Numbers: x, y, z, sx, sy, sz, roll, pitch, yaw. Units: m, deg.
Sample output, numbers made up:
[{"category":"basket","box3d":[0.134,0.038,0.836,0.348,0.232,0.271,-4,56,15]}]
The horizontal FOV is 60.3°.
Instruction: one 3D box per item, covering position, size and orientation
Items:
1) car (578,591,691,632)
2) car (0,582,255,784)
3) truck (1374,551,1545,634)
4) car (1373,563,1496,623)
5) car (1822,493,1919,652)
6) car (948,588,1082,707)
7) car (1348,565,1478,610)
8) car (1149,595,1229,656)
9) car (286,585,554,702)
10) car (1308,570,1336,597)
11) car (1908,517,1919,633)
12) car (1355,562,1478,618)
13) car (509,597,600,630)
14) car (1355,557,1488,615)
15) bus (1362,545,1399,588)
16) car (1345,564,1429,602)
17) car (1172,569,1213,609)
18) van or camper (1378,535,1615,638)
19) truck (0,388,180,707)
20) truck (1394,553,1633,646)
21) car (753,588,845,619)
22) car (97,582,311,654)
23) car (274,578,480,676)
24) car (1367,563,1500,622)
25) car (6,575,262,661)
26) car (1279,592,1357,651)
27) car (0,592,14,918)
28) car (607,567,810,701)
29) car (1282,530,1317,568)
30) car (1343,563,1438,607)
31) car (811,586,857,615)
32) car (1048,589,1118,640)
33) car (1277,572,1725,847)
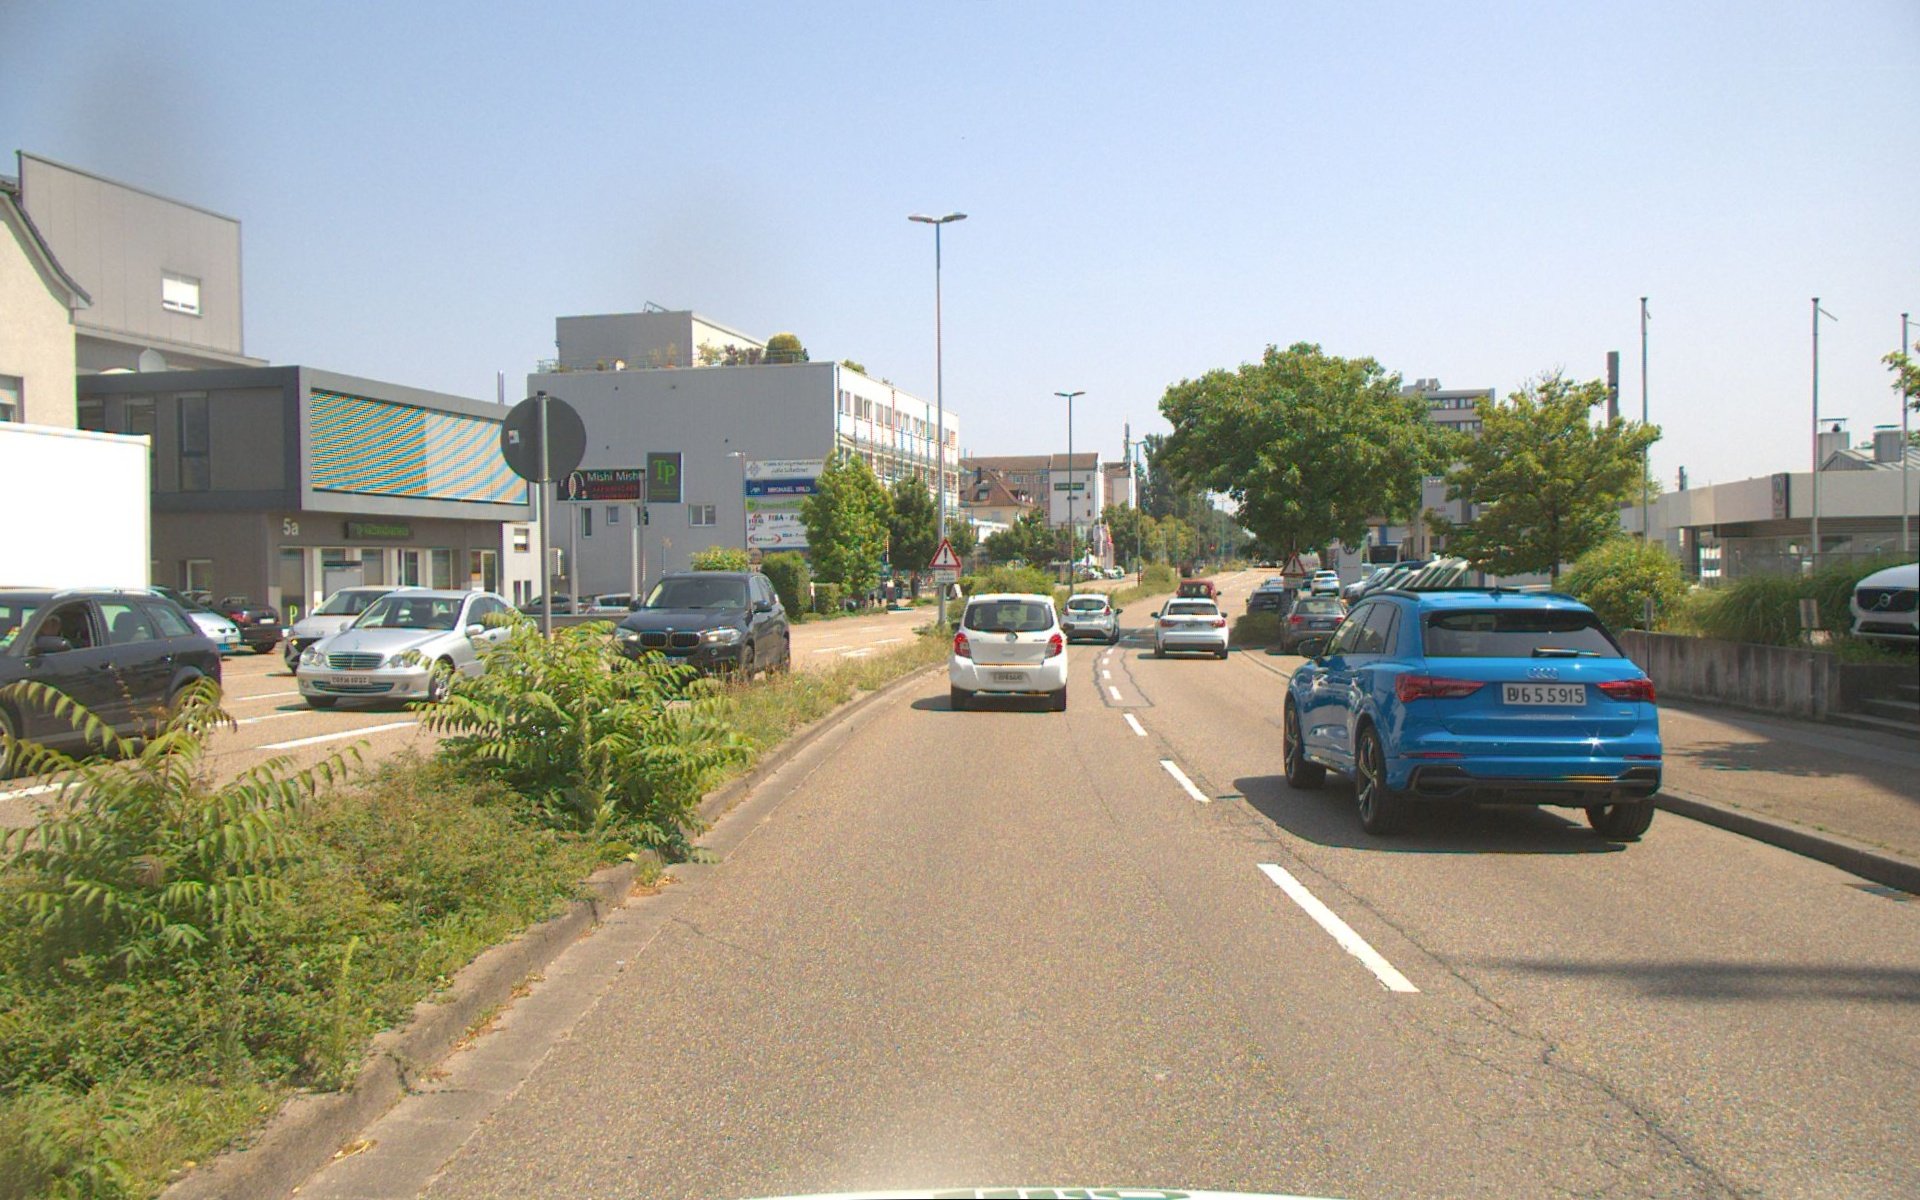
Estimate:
[{"category":"car","box3d":[-12.292,0.449,62.519,3.902,1.484,1.576,-1,-1,6]},{"category":"car","box3d":[-7.752,0.591,13.550,1.764,1.464,4.578,0,0,3]},{"category":"truck","box3d":[16.214,-0.238,53.931,5.135,2.478,2.113,-2,1,13]},{"category":"car","box3d":[18.544,-0.273,64.850,4.413,2.049,2.200,-4,-1,12]},{"category":"car","box3d":[12.679,-0.264,19.184,4.645,1.743,1.992,1,-1,-15]},{"category":"car","box3d":[0.706,0.640,23.235,1.677,1.537,3.246,1,-1,-1]},{"category":"car","box3d":[21.308,-0.602,78.102,5.767,2.049,2.261,1,1,12]},{"category":"car","box3d":[5.566,0.585,40.499,1.632,1.424,3.795,0,0,3]},{"category":"car","box3d":[-6.932,0.525,21.738,1.857,1.385,4.200,0,0,4]},{"category":"car","box3d":[23.465,-1.088,107.366,1.631,1.623,4.617,-2,1,11]},{"category":"car","box3d":[23.962,-0.521,35.634,5.760,2.573,2.121,1,-1,14]},{"category":"car","box3d":[19.372,-0.438,70.312,4.795,2.151,2.131,-2,1,10]},{"category":"car","box3d":[-19.965,0.645,81.517,3.887,1.493,1.965,-1,1,6]},{"category":"car","box3d":[20.926,-0.633,75.233,5.719,2.568,2.206,1,0,14]},{"category":"bus","box3d":[33.652,-2.767,132.394,2.745,3.132,12.297,0,2,14]},{"category":"car","box3d":[22.139,-0.871,85.935,4.061,1.812,1.883,-2,-1,10]},{"category":"car","box3d":[10.605,-0.497,75.339,1.756,1.759,3.976,1,0,9]},{"category":"van or camper","box3d":[16.429,-0.416,50.993,6.651,2.948,2.278,-1,1,10]},{"category":"truck","box3d":[-11.594,-0.584,17.991,2.216,3.477,7.043,1,-1,6]},{"category":"truck","box3d":[15.449,-0.025,46.550,6.112,2.377,2.371,-2,1,12]},{"category":"car","box3d":[-8.041,0.189,82.771,4.133,1.372,1.982,-2,1,10]},{"category":"car","box3d":[-17.222,0.402,37.799,3.970,1.548,2.002,-1,0,8]},{"category":"car","box3d":[-10.161,0.445,29.183,1.857,1.594,4.200,0,0,4]},{"category":"car","box3d":[19.356,-0.305,67.821,4.956,2.133,2.042,-3,0,10]},{"category":"car","box3d":[-17.520,0.364,35.201,4.510,1.522,1.753,3,1,3]},{"category":"car","box3d":[9.305,0.520,43.221,1.759,1.430,4.324,1,1,9]},{"category":"car","box3d":[-5.252,0.692,5.109,1.824,1.456,4.745,0,0,1]},{"category":"car","box3d":[-3.632,0.482,24.796,1.868,1.781,4.763,1,-1,6]},{"category":"car","box3d":[28.422,-4.232,138.794,2.088,2.887,7.315,-6,0,8]},{"category":"car","box3d":[22.406,-0.806,86.168,4.541,2.048,1.962,-2,1,9]},{"category":"car","box3d":[-7.156,-0.005,94.449,1.624,1.493,3.802,-3,1,10]},{"category":"car","box3d":[3.701,0.430,50.389,1.792,1.475,3.999,1,0,-1]},{"category":"car","box3d":[3.629,0.624,12.016,1.873,1.625,4.396,0,1,1]}]
